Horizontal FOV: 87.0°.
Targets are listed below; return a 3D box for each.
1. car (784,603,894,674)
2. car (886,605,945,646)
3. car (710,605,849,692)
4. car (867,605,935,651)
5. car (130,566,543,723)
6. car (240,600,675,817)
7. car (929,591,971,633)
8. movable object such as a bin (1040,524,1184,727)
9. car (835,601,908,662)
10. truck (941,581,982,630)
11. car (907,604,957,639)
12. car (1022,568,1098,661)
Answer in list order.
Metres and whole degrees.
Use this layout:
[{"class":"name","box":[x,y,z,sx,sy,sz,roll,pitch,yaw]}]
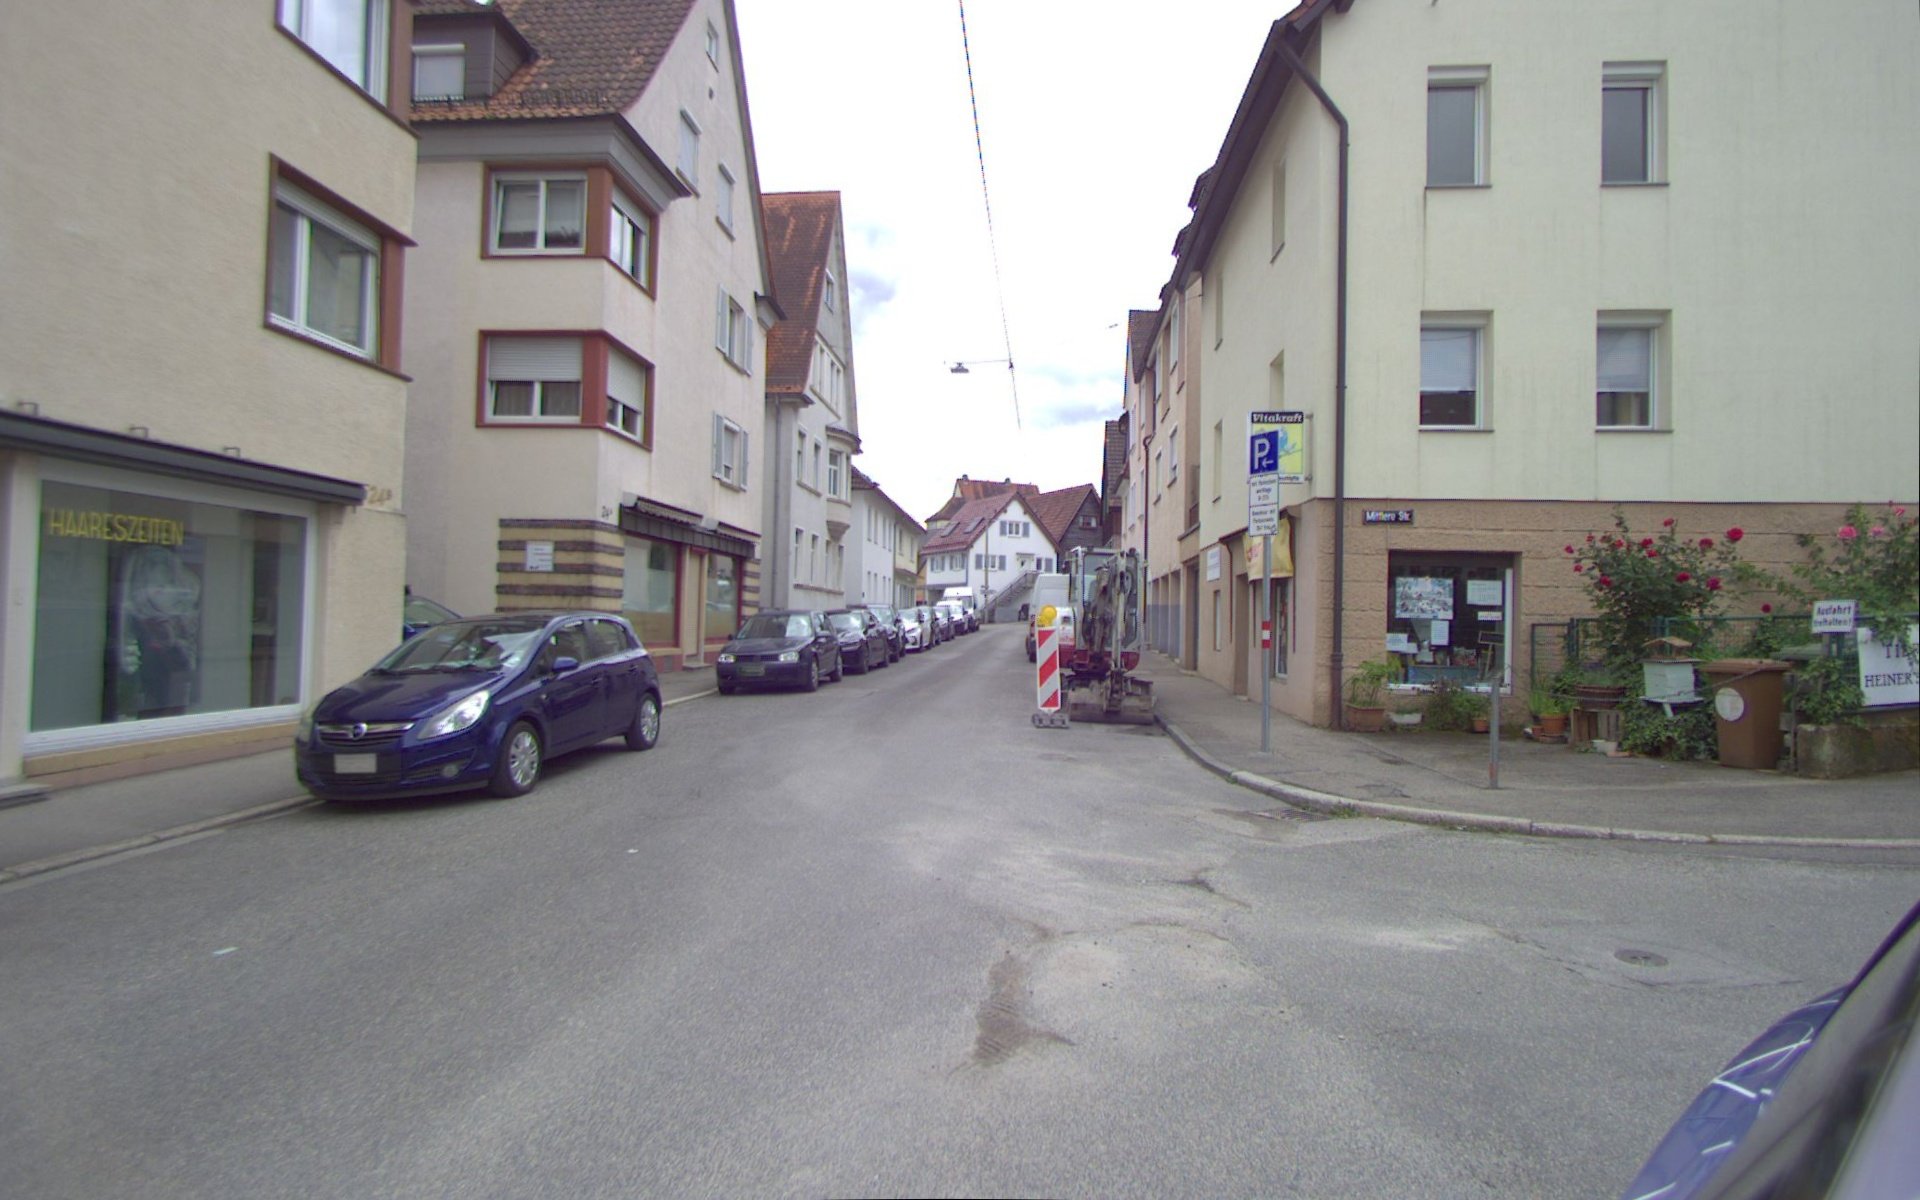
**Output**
[{"class":"car","box":[-2.731,0.831,23.659,1.667,1.468,4.097,-2,0,6]},{"class":"car","box":[-1.635,0.920,38.496,1.668,1.407,3.707,-2,0,6]},{"class":"car","box":[-3.222,0.812,18.772,1.666,1.421,3.997,-1,0,3]},{"class":"car","box":[-1.929,0.905,34.159,1.667,1.407,3.795,-2,0,6]},{"class":"car","box":[-8.749,0.608,14.432,4.817,1.889,1.950,-3,-1,6]},{"class":"car","box":[-4.105,0.772,9.061,1.667,1.468,3.914,-2,0,5]},{"class":"car","box":[-0.465,0.597,52.689,1.668,2.030,4.086,-2,0,6]},{"class":"movable object such as a bin","box":[2.130,0.320,15.315,1.543,2.532,4.671,2,0,2]},{"class":"car","box":[-2.447,0.847,28.890,1.665,1.538,4.103,-2,0,0]},{"class":"truck","box":[0.110,0.312,58.334,1.795,2.628,4.772,-2,0,6]},{"class":"car","box":[-1.170,0.893,44.290,1.668,1.407,3.707,-2,0,6]},{"class":"car","box":[2.900,0.386,30.601,1.964,2.418,6.614,2,0,4]}]
